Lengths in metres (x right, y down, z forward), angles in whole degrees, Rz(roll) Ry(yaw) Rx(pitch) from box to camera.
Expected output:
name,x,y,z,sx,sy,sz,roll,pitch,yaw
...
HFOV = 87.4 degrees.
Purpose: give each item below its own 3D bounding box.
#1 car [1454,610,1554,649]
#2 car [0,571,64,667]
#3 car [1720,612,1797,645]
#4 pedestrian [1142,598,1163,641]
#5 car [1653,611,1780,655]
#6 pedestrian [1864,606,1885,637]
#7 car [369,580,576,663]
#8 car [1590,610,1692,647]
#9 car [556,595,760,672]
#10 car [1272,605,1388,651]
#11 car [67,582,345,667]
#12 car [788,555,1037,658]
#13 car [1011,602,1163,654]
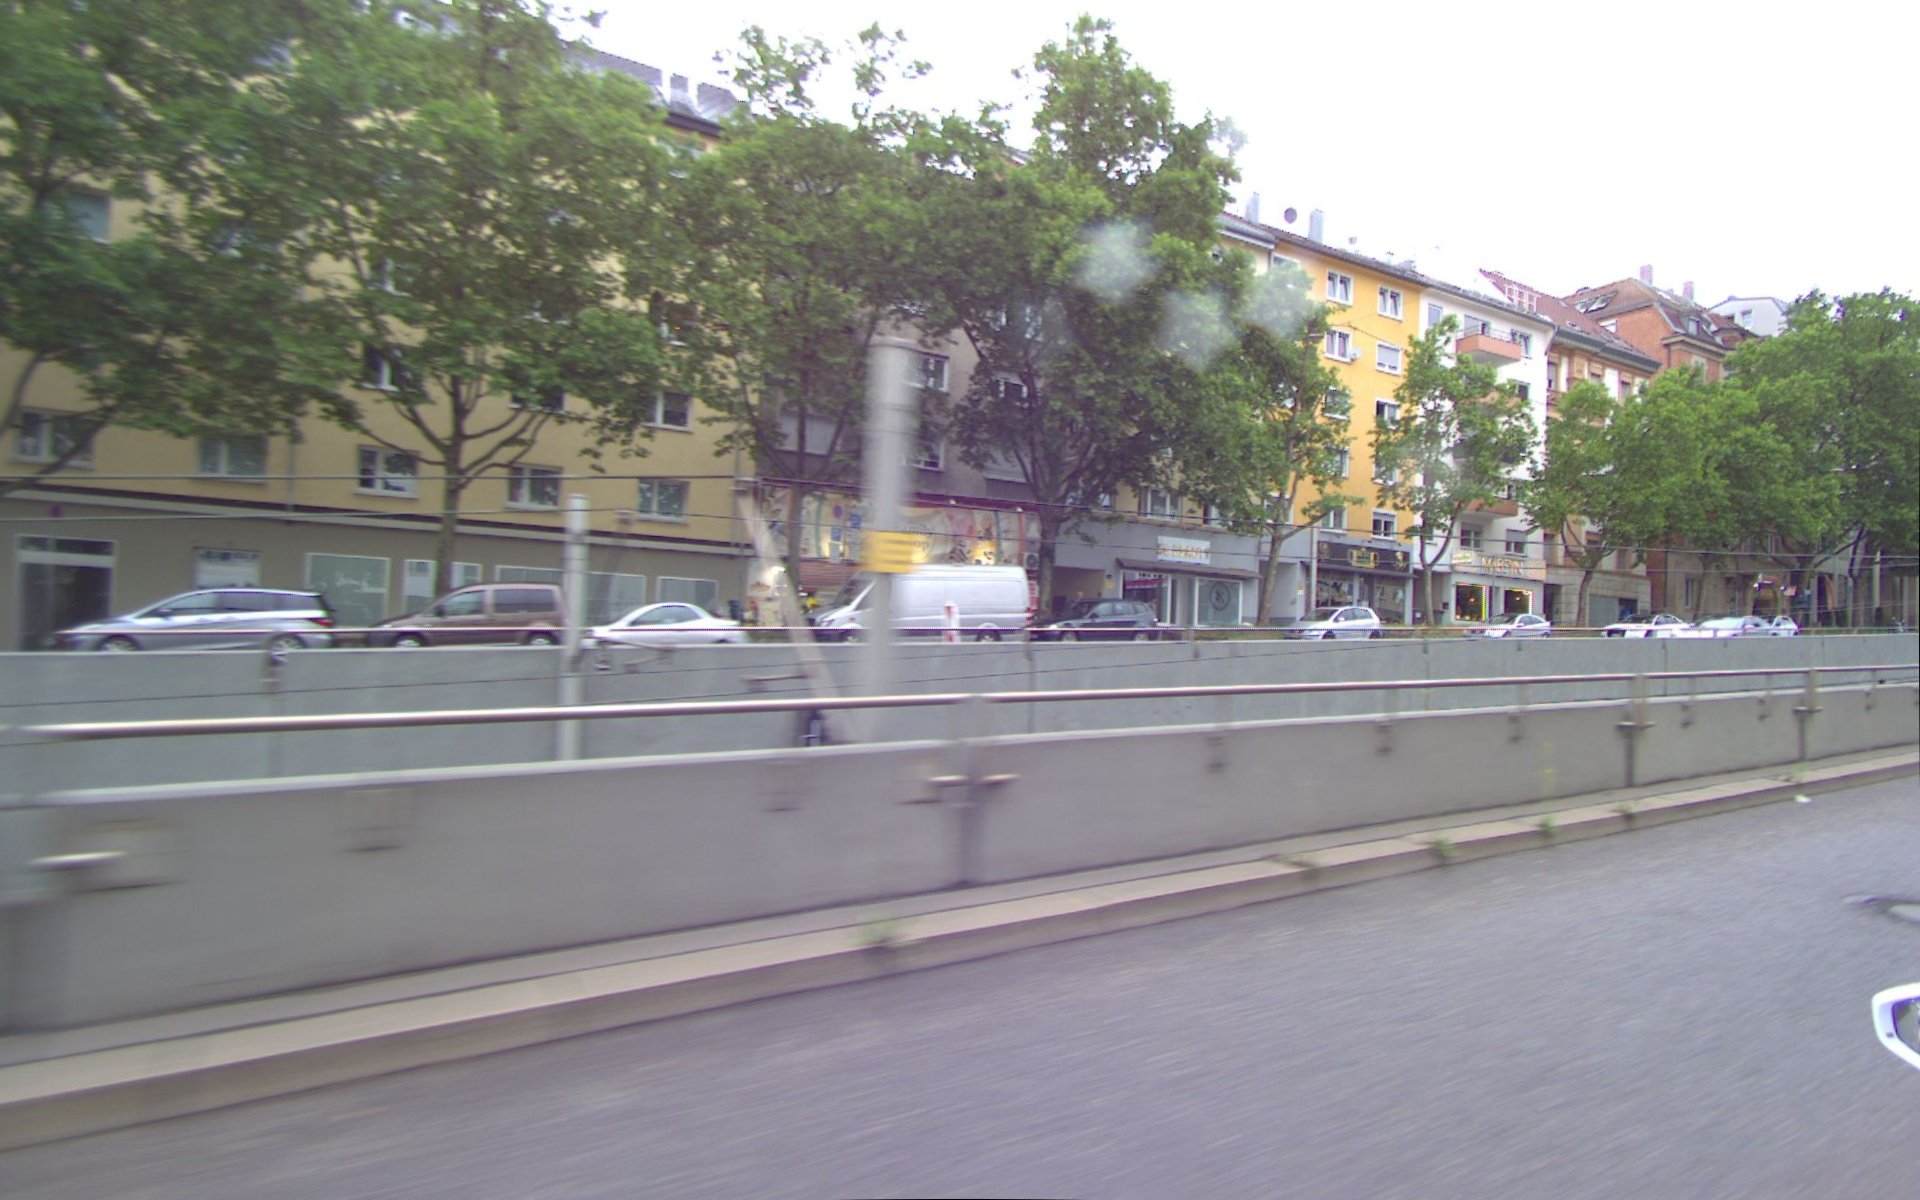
name,x,y,z,sx,sy,sz,roll,pitch,yaw
car,22.865,1.231,42.195,4.157,1.530,1.786,1,0,-29
car,-19.951,0.319,18.525,4.849,1.788,1.865,1,0,-34
car,41.725,1.495,52.474,4.064,1.633,1.785,1,0,-30
pedestrian,8.164,0.825,42.567,0.612,1.772,0.522,2,2,-22
car,28.395,1.222,37.681,4.823,1.530,2.017,1,0,-29
pedestrian,59.952,1.405,65.861,0.923,2.040,0.666,2,0,-28
car,-11.241,0.484,23.237,4.159,1.752,1.784,1,0,-32
car,32.032,1.336,47.210,5.137,1.622,1.918,1,0,-30
car,-6.530,0.701,21.757,3.965,1.530,1.839,1,0,-27
car,13.809,1.037,37.470,4.157,1.592,1.786,1,0,-29
car,-15.500,0.488,21.008,4.421,1.604,1.867,1,0,-31
car,-1.290,0.216,29.088,6.848,2.698,2.441,1,0,-30
car,4.045,0.875,31.667,4.615,1.530,1.786,1,0,-30
